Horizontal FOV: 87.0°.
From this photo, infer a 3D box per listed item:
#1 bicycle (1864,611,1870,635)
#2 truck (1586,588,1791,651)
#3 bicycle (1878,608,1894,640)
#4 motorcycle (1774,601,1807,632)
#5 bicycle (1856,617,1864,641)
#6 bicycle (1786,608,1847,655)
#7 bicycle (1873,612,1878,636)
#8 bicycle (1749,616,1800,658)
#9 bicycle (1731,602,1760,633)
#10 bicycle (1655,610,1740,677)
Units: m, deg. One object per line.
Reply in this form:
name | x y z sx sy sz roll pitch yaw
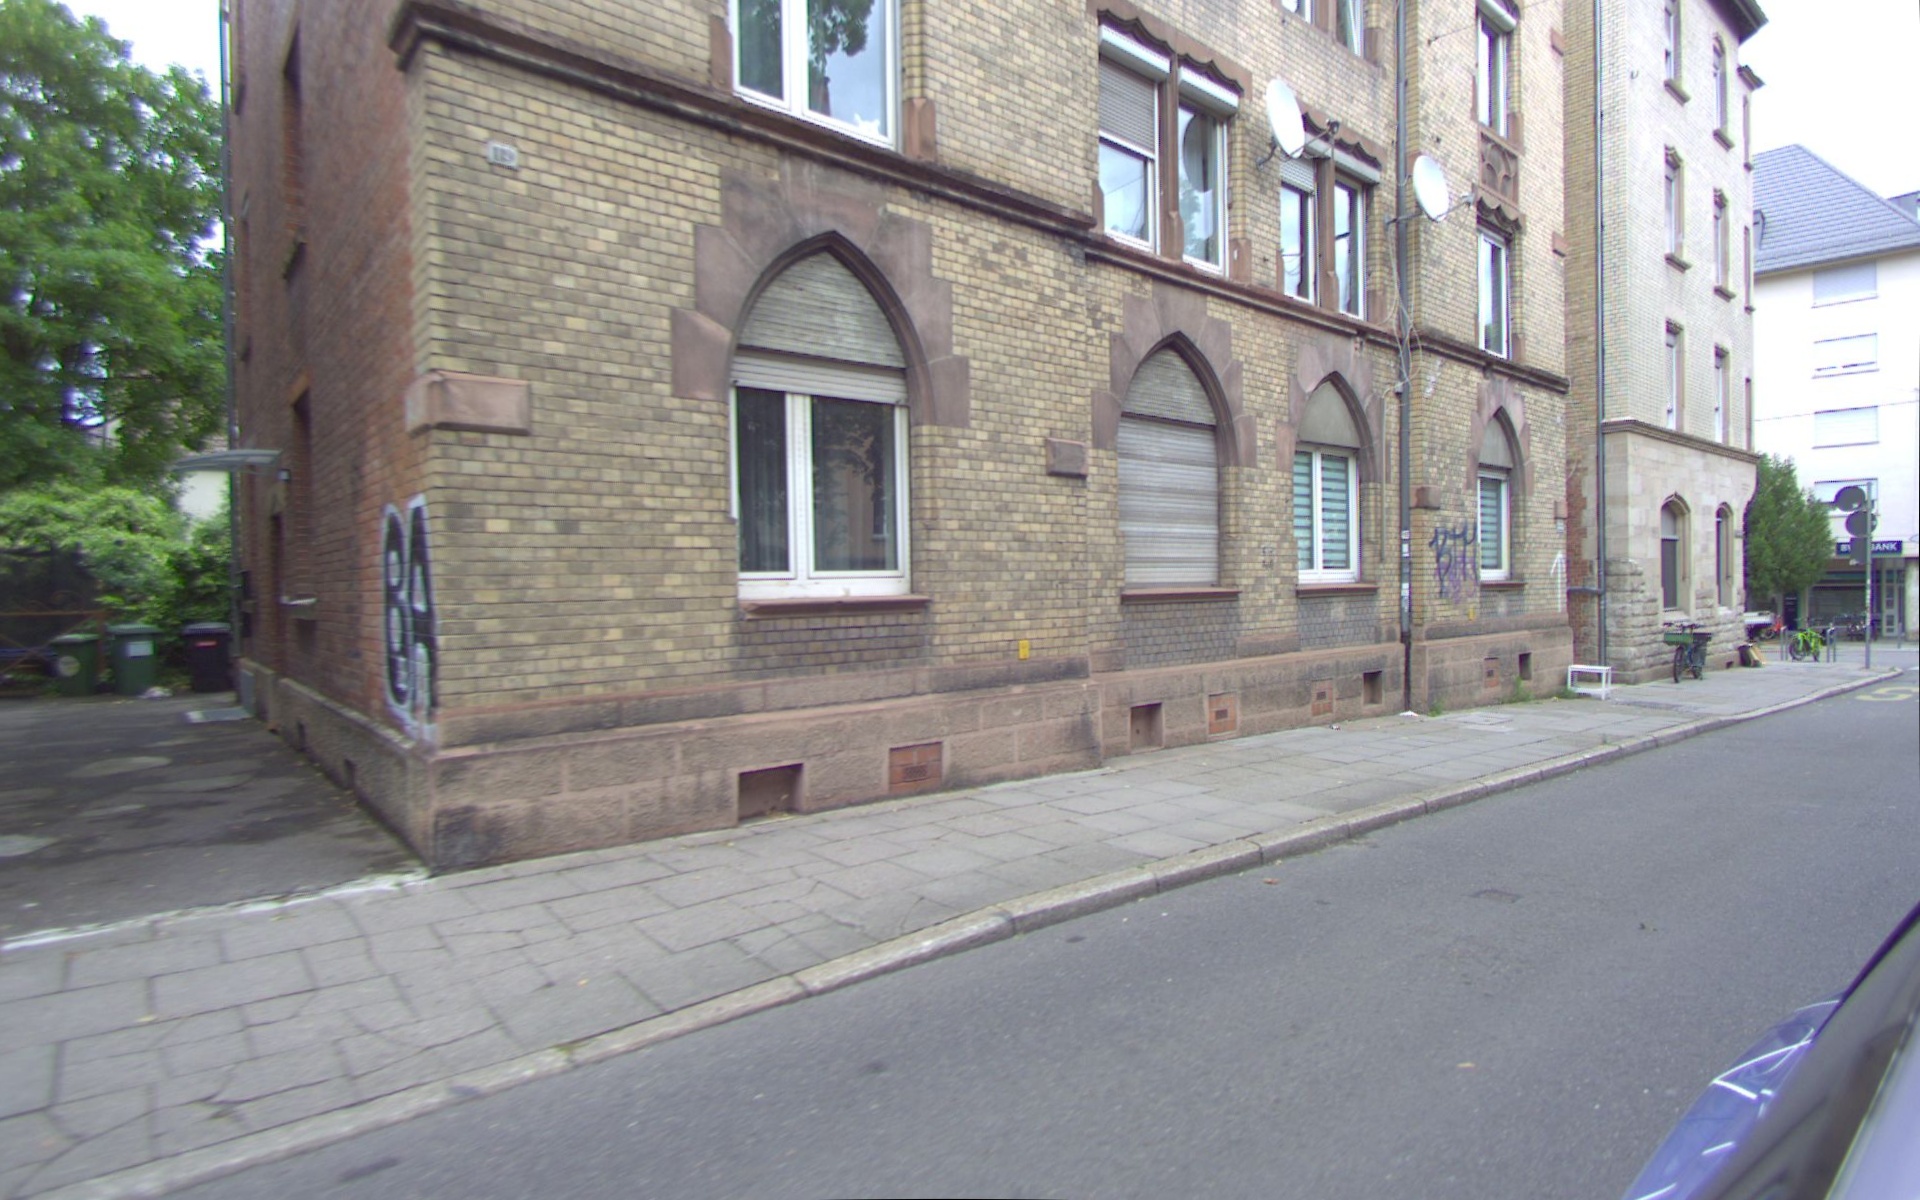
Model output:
bicycle | 35.486 0.887 39.577 0.141 0.919 1.230 0 0 43
truck | 26.994 0.810 37.659 5.840 2.134 2.513 -3 -4 44
bicycle | 36.458 0.932 39.835 0.399 1.220 1.265 -3 -2 43
motorcycle | 33.037 0.647 40.240 1.895 1.211 0.591 0 2 -38
bicycle | 35.894 1.148 40.357 0.184 0.919 1.217 -2 -2 43
bicycle | 22.168 0.821 26.163 2.886 1.164 0.683 2 -2 -39
bicycle | 35.483 0.919 39.218 0.120 0.919 1.265 -2 -2 43
bicycle | 23.282 1.055 28.911 2.021 1.164 0.683 2 -3 -39
bicycle | 32.159 0.712 41.431 1.848 1.271 0.439 0 -1 -37
bicycle | 13.954 0.788 19.114 2.438 1.164 0.683 -1 0 -39
